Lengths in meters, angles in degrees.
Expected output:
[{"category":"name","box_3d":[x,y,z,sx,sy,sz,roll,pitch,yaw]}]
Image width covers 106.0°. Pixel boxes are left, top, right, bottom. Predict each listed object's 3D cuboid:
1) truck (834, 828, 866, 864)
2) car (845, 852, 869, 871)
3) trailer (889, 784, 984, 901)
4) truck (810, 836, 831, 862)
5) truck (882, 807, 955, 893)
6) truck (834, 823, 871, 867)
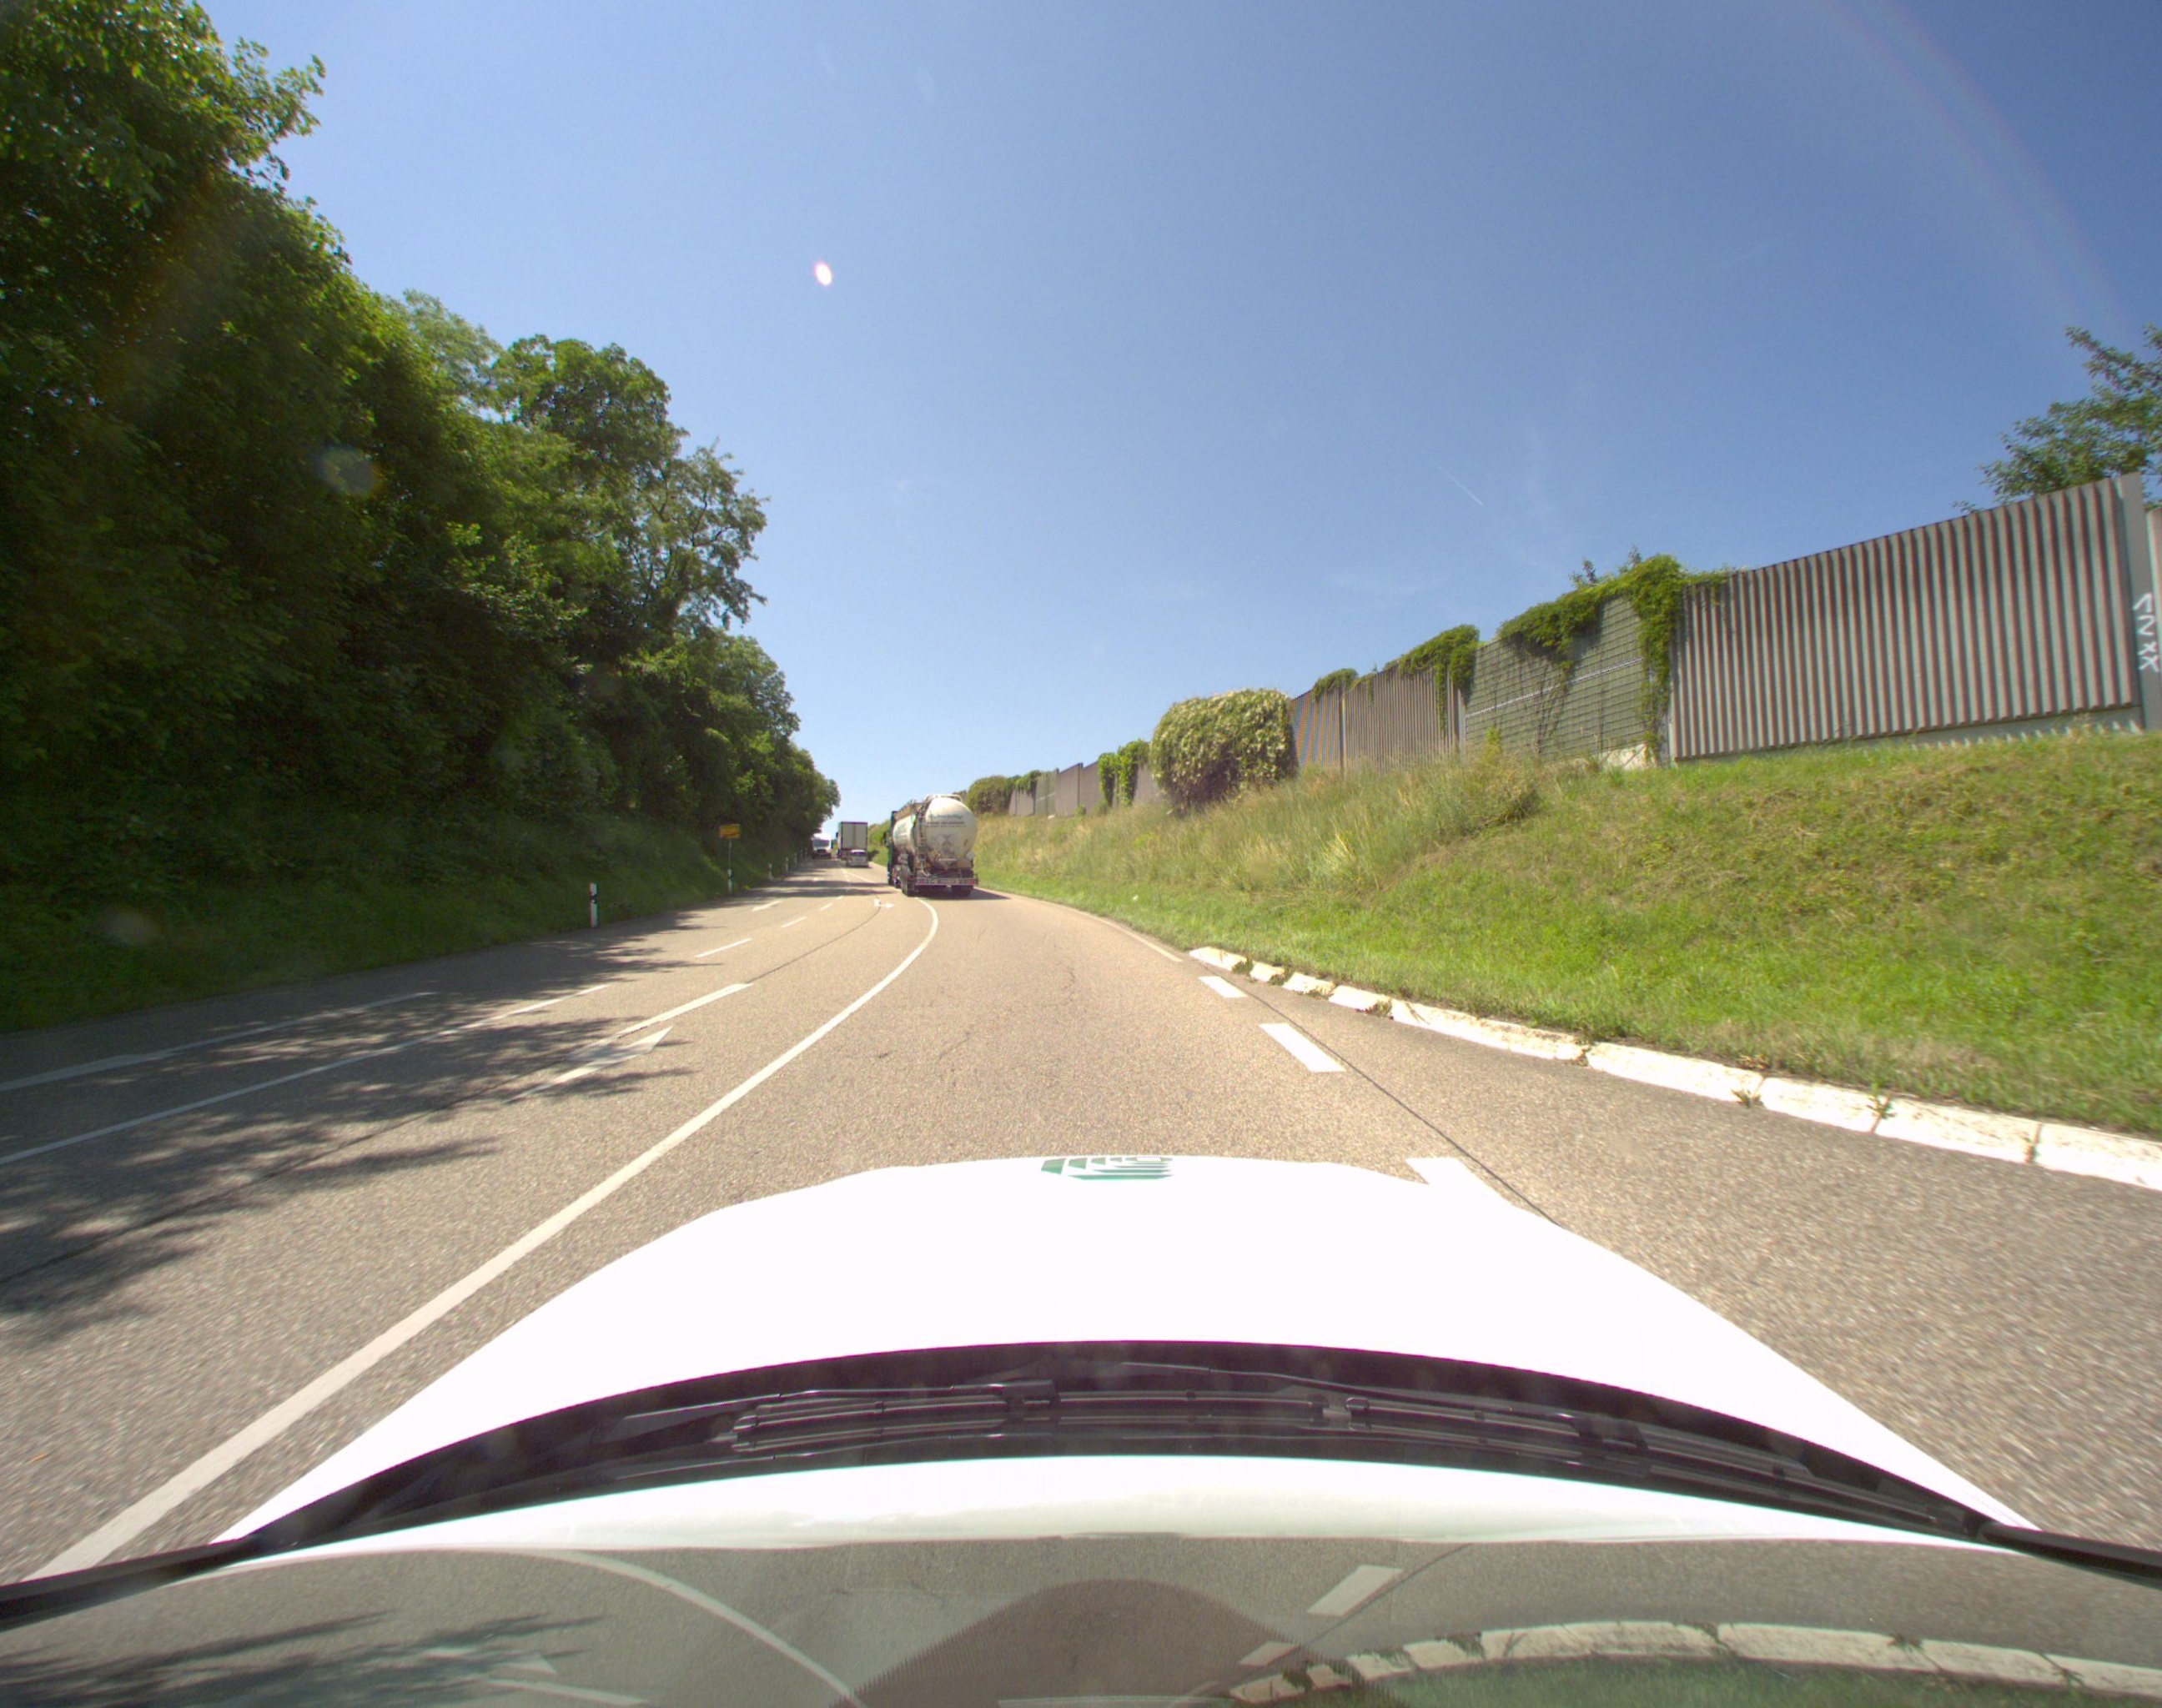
[{"category":"truck","box_3d":[-26.606,-0.851,93.600,3.198,3.933,8.202,2,-1,-17]},{"category":"car","box_3d":[-19.423,0.668,70.562,1.653,1.509,3.613,3,-2,-21]},{"category":"trailer","box_3d":[-6.592,-0.359,35.433,2.667,4.189,11.835,1,-1,-17]},{"category":"truck","box_3d":[-28.610,-0.566,89.603,2.058,2.687,5.947,1,1,-17]},{"category":"truck","box_3d":[-8.334,-0.179,41.106,2.735,3.930,7.217,0,0,-19]},{"category":"truck","box_3d":[-24.819,-0.967,88.087,3.199,4.309,11.729,3,0,-18]}]
